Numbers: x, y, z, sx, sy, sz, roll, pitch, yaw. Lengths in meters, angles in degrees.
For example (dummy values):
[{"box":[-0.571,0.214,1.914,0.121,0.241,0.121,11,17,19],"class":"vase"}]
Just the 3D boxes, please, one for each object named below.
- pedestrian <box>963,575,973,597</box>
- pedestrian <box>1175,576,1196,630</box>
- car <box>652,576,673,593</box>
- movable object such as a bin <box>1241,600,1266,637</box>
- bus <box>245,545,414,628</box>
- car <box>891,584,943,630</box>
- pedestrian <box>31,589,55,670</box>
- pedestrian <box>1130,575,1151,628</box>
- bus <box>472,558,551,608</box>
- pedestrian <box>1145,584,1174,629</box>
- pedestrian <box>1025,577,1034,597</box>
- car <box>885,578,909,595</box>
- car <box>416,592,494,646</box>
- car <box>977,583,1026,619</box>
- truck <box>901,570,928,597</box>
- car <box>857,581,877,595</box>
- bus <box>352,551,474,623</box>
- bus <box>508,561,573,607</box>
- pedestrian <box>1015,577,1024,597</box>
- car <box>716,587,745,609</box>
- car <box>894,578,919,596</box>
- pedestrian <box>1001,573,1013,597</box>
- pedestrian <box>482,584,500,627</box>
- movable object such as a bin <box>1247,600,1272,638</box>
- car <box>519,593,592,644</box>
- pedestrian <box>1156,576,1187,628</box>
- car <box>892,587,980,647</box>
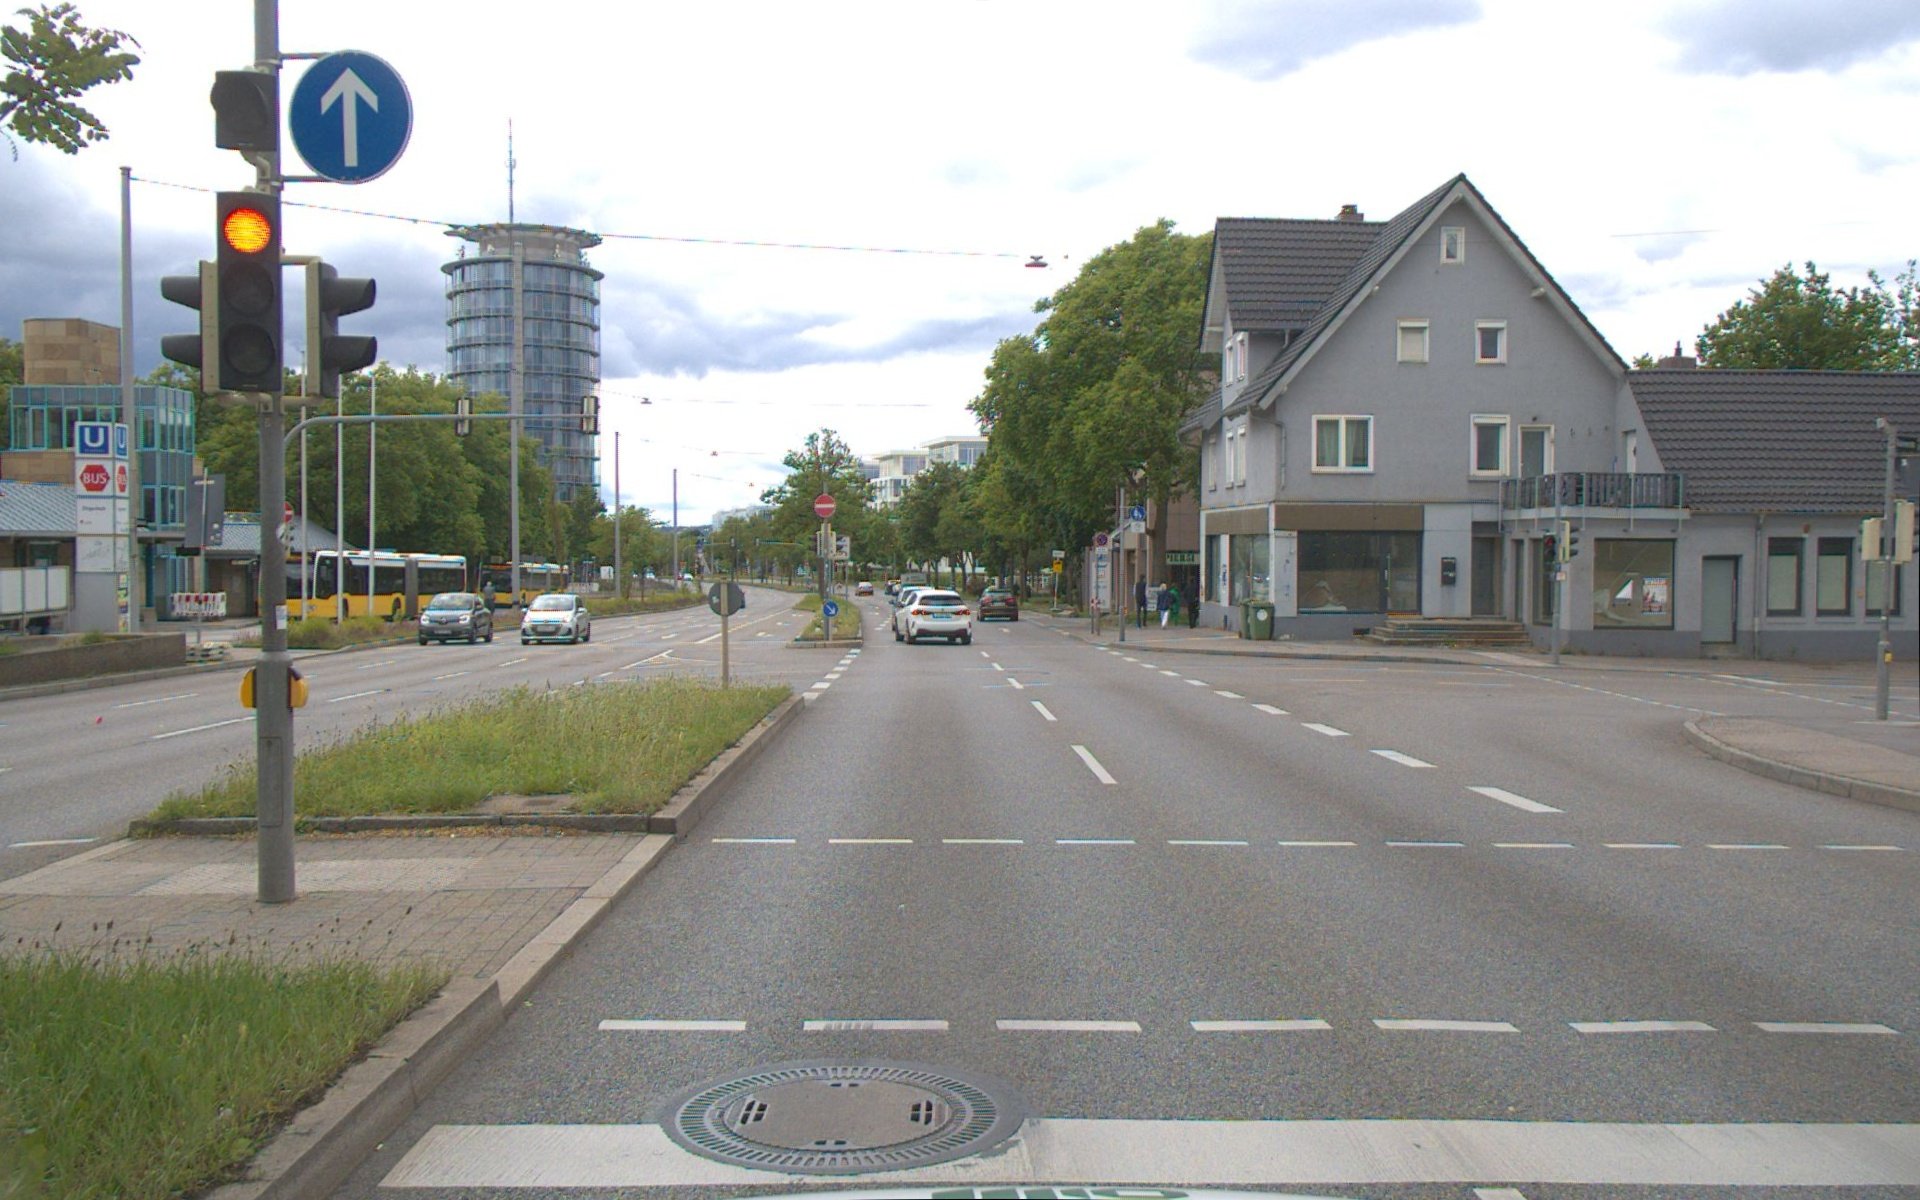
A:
[{"box":[0.814,-1.456,171.777,0.914,2.349,1.008,1,-1,-10],"class":"pedestrian"},{"box":[7.646,0.095,56.056,0.690,1.791,1.053,0,0,9],"class":"pedestrian"},{"box":[-35.903,-1.851,199.736,1.925,2.049,3.999,1,0,-1],"class":"car"},{"box":[7.968,0.493,44.945,0.518,0.997,0.736,0,0,-1],"class":"movable object such as a bin"},{"box":[-27.081,-0.565,71.687,2.927,3.307,10.174,-1,0,3],"class":"bus"},{"box":[-1.504,0.236,58.549,1.785,1.567,4.113,-1,0,-1],"class":"car"},{"box":[-18.349,0.583,33.091,0.414,1.619,0.353,0,0,-30],"class":"pedestrian"},{"box":[6.216,0.039,56.883,0.690,1.811,0.871,-1,0,5],"class":"pedestrian"},{"box":[-30.782,-1.127,114.006,3.082,3.281,10.279,0,0,-3],"class":"bus"},{"box":[6.758,0.214,56.074,0.692,1.533,0.869,-1,0,28],"class":"pedestrian"},{"box":[5.508,-1.012,130.878,0.638,1.597,0.669,0,0,-9],"class":"pedestrian"},{"box":[-6.599,-1.407,173.774,2.207,1.676,4.927,0,0,-6],"class":"car"},{"box":[-15.472,0.563,50.807,1.652,1.606,3.344,0,0,-6],"class":"car"},{"box":[1.830,0.056,73.697,1.851,1.521,4.096,-1,0,-3],"class":"car"},{"box":[-4.345,-1.550,156.419,2.207,2.459,4.927,0,0,-5],"class":"truck"},{"box":[-9.717,-1.277,173.017,1.929,1.444,4.017,0,0,-6],"class":"car"},{"box":[-26.544,-0.619,80.712,2.927,3.327,7.879,-1,0,3],"class":"bus"},{"box":[-31.144,-1.144,123.004,3.081,3.281,7.762,0,0,-2],"class":"bus"},{"box":[4.709,-1.013,130.821,0.638,1.597,0.669,0,0,-9],"class":"pedestrian"},{"box":[-16.780,-0.144,120.957,1.668,1.518,3.561,-1,0,-1],"class":"car"},{"box":[-5.399,-1.259,164.996,2.207,1.787,4.927,0,0,-5],"class":"car"},{"box":[4.125,-1.319,143.875,0.951,2.049,0.981,1,-1,-2],"class":"pedestrian"},{"box":[-21.440,0.244,75.591,0.647,1.930,0.685,0,0,-1],"class":"pedestrian"},{"box":[7.998,0.496,44.155,0.518,0.997,0.736,0,0,-1],"class":"movable object such as a bin"},{"box":[-12.364,0.548,50.719,1.651,1.488,3.552,0,0,-5],"class":"car"},{"box":[7.549,0.065,59.014,0.863,1.811,0.696,0,0,-43],"class":"pedestrian"},{"box":[-0.728,0.434,46.671,1.956,1.503,4.249,0,2,-8],"class":"car"}]
